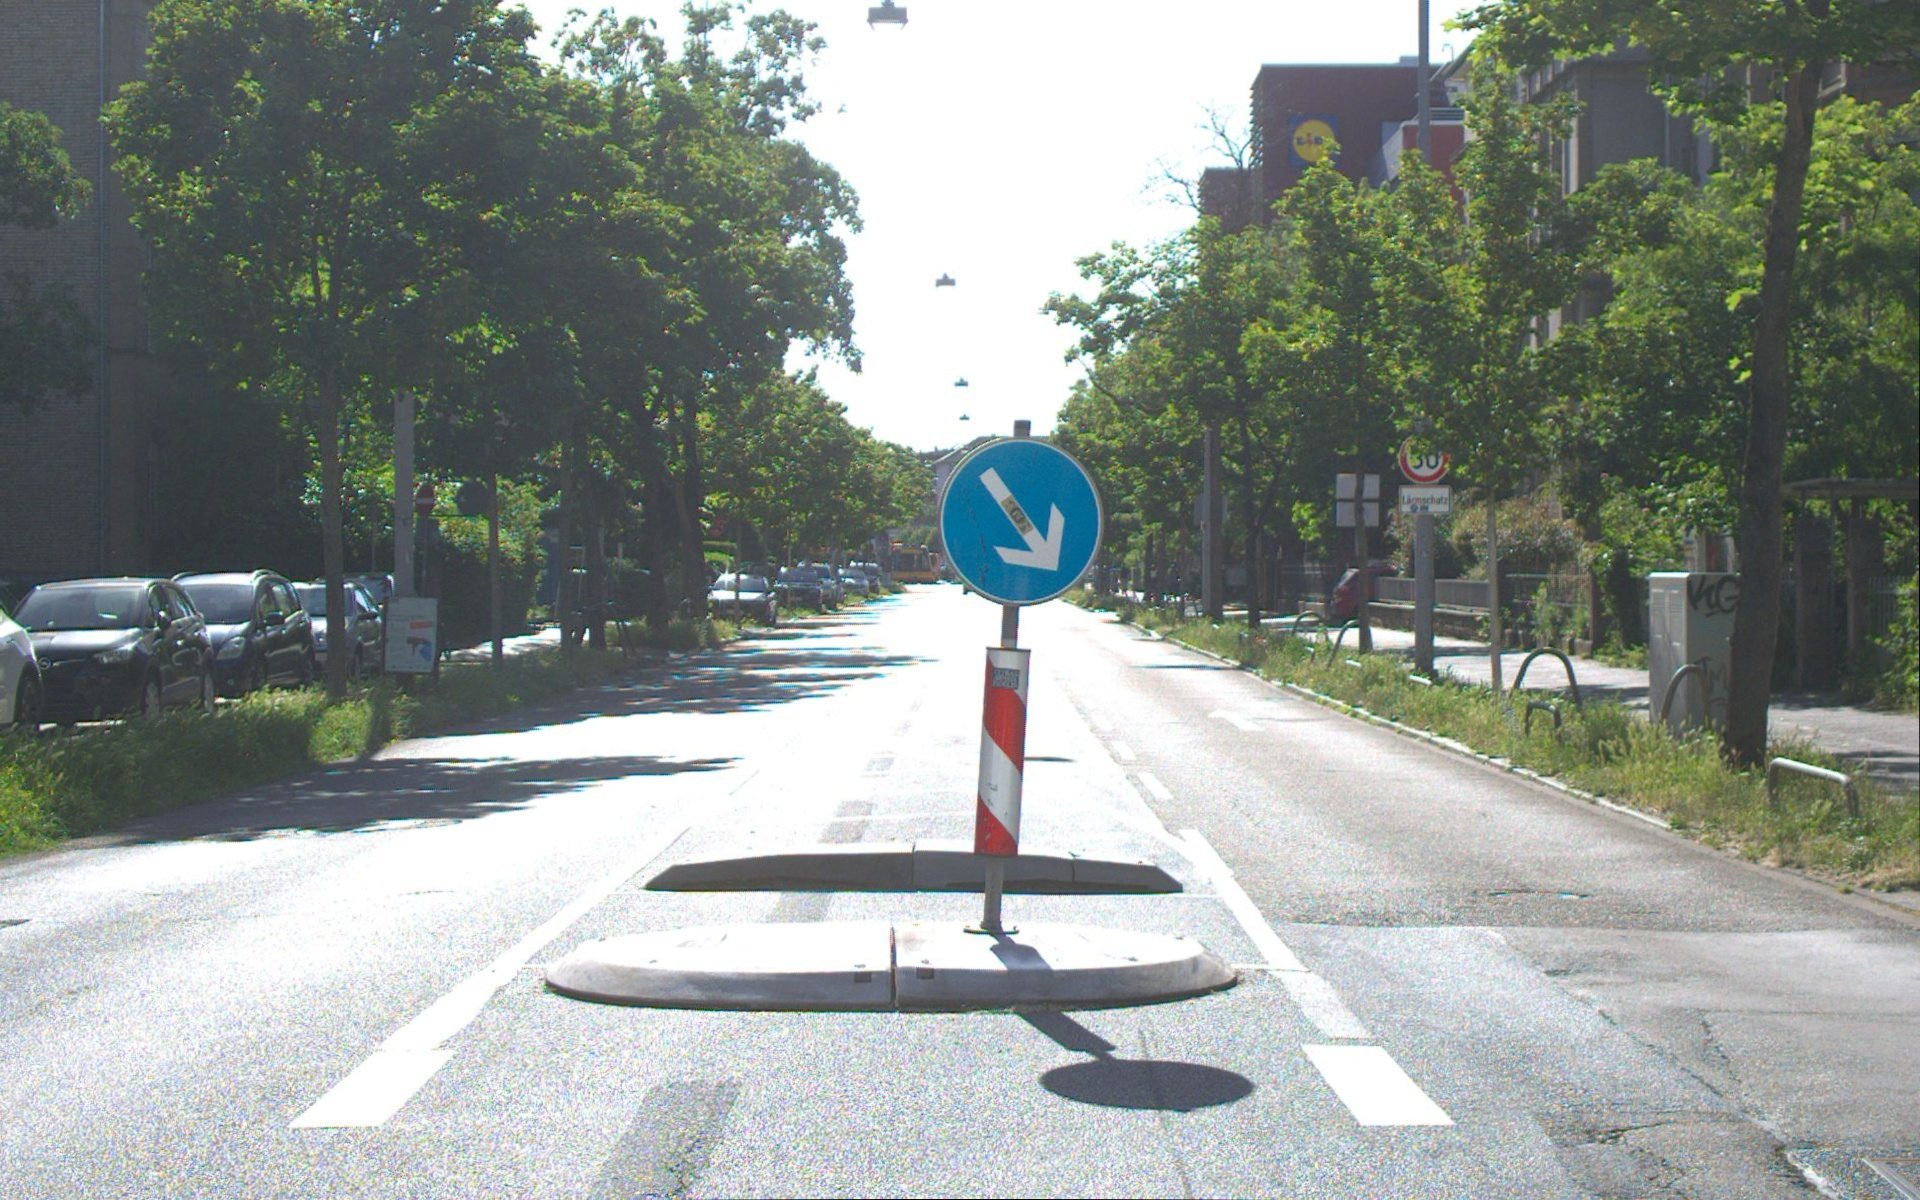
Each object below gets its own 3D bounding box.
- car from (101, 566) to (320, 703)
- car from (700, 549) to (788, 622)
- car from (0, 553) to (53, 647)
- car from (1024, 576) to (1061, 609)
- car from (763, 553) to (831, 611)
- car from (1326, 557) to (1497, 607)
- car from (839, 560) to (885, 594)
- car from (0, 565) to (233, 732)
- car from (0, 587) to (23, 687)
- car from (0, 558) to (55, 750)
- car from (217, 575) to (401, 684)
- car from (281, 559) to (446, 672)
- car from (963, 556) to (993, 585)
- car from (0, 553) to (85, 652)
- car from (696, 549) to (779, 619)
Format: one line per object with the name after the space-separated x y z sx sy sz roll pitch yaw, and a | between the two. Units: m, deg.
-9.032 0.382 41.721 1.751 1.548 4.000 -1 1 0 | car
-6.066 -0.429 97.049 1.994 2.007 4.205 -1 1 3 | car
-18.153 -0.003 60.463 3.986 1.624 1.688 0 1 -3 | car
4.347 -0.394 181.598 1.951 1.702 4.000 0 1 1 | car
-5.858 -0.660 123.942 2.061 2.007 4.629 -1 1 2 | car
11.003 -0.448 84.023 3.987 1.219 1.803 0 1 2 | car
-4.940 -1.177 173.817 1.994 1.690 4.000 -1 1 3 | car
-8.993 0.464 35.625 1.863 1.582 4.000 -2 1 3 | car
-14.960 0.562 49.710 1.686 1.464 4.000 0 1 1 | car
-9.251 0.512 29.182 1.888 1.656 4.531 -2 1 0 | car
-8.896 0.376 47.249 1.754 1.393 4.000 0 1 0 | car
-8.968 0.202 51.959 1.762 1.640 4.000 0 1 0 | car
1.086 -1.811 211.356 1.758 1.777 4.000 0 1 1 | car
-18.122 0.035 62.468 3.986 1.763 1.886 0 1 -2 | car
-6.576 -0.485 102.044 1.994 2.007 4.205 -1 1 2 | car
